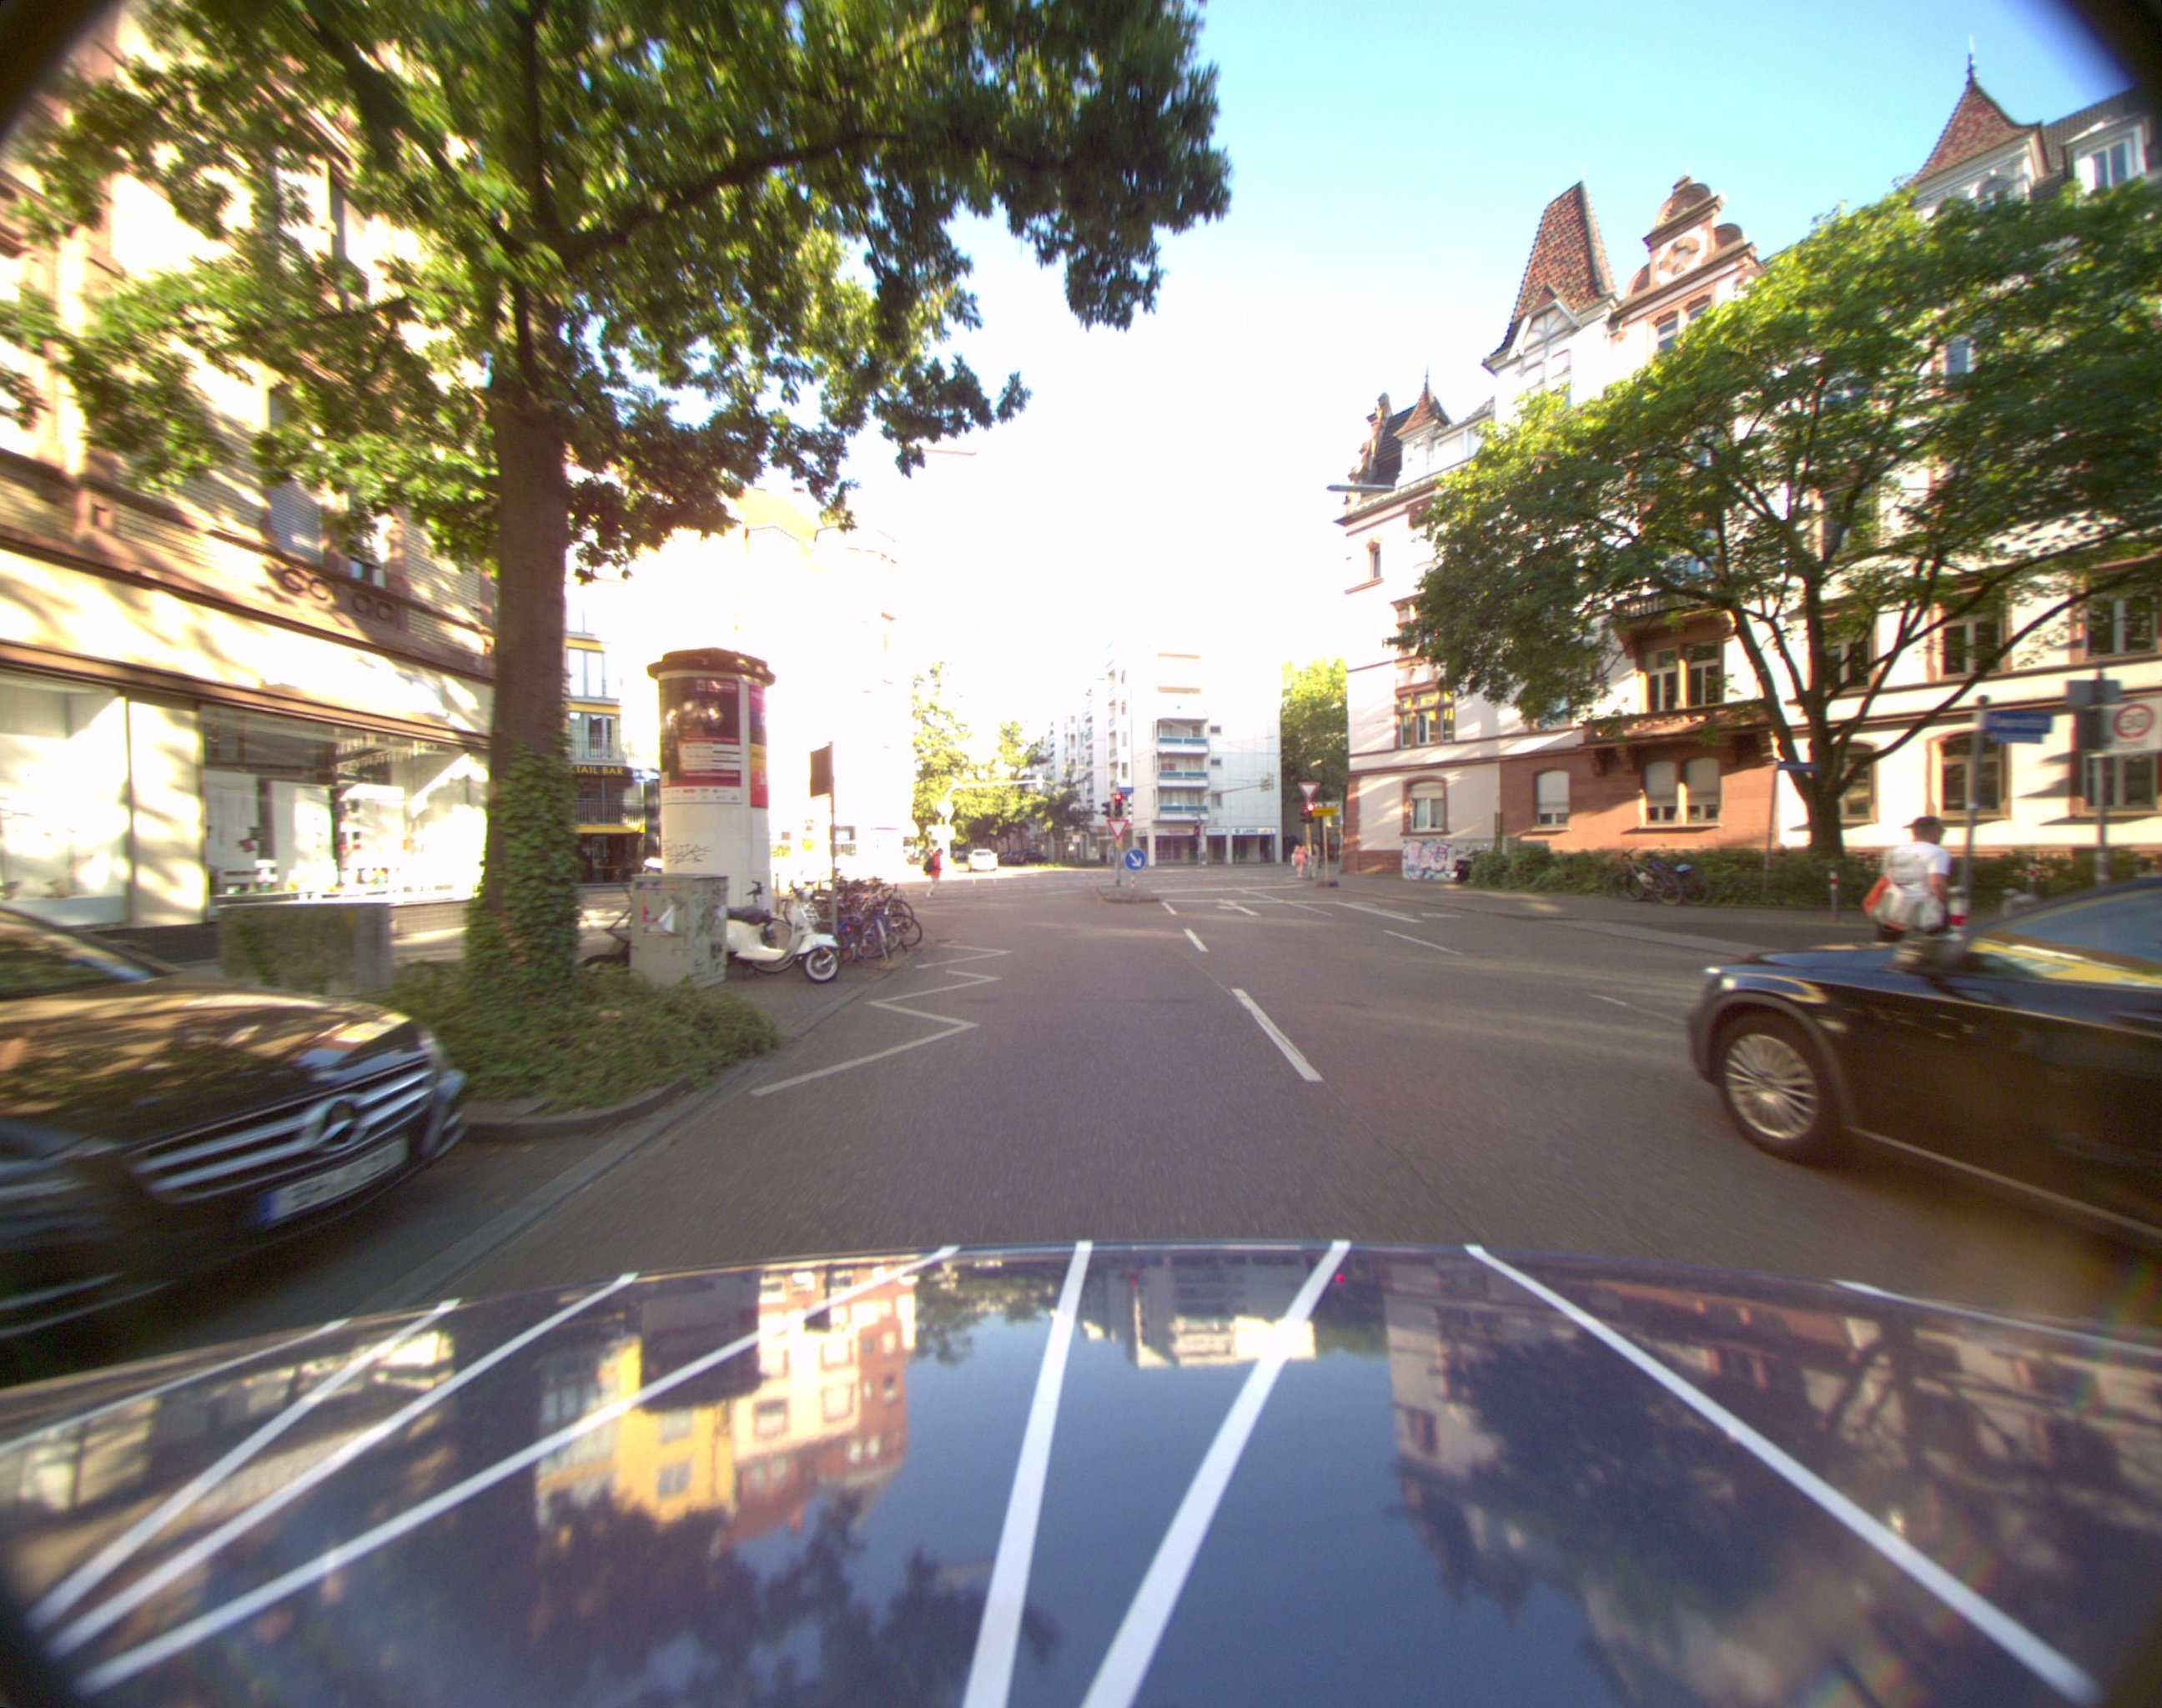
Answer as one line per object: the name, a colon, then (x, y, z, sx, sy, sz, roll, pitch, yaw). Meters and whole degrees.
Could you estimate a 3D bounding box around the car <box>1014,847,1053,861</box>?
car: (-5.454, -0.009, 86.973, 4.004, 1.576, 1.996, -1, 1, -21)

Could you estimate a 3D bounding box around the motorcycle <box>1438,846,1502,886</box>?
motorcycle: (13.203, 0.385, 25.798, 2.113, 1.258, 0.841, -1, 1, -26)

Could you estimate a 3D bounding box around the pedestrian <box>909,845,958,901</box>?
pedestrian: (-4.530, 0.557, 23.338, 1.175, 1.670, 1.005, -2, 1, -30)

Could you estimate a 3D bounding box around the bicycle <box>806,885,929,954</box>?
bicycle: (-3.610, 1.081, 12.957, 1.940, 1.046, 0.501, 1, 2, -38)

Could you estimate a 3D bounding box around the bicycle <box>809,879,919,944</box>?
bicycle: (-3.990, 1.031, 14.076, 1.940, 1.087, 0.424, 1, 2, -40)

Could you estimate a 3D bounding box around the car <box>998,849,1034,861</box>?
car: (-8.603, 0.126, 100.139, 4.308, 1.576, 1.996, -1, 1, -20)

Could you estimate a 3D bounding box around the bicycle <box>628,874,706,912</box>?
bicycle: (-11.723, 1.089, 21.553, 1.882, 0.907, 0.633, -3, 1, -30)

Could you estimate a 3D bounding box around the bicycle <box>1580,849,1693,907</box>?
bicycle: (12.477, 0.489, 17.202, 0.547, 1.189, 2.959, -1, 1, 3)

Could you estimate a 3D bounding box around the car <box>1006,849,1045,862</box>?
car: (-6.706, 0.160, 91.847, 4.309, 1.576, 1.996, -1, 1, -21)

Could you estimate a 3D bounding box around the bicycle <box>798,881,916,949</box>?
bicycle: (-3.904, 1.046, 13.344, 1.940, 1.087, 0.424, 1, 2, -38)

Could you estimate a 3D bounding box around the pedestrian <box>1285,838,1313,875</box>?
pedestrian: (10.017, 0.100, 34.907, 0.867, 1.688, 0.986, 0, 2, 44)

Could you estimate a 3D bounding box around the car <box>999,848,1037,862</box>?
car: (-7.805, 0.096, 94.023, 4.309, 1.576, 1.996, -1, 1, -21)

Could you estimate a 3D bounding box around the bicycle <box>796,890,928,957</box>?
bicycle: (-3.461, 1.082, 12.039, 1.939, 0.982, 0.495, 1, 2, -23)

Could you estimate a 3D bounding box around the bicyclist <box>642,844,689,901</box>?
bicyclist: (-11.775, 0.508, 21.530, 1.083, 1.544, 0.633, -3, 1, -30)

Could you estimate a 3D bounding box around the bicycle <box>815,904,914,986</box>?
bicycle: (-2.887, 1.188, 10.248, 0.353, 0.922, 1.416, 3, 1, 29)

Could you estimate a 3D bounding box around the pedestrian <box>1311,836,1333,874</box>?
pedestrian: (10.959, 0.056, 34.590, 0.868, 1.688, 0.985, -1, 1, 14)

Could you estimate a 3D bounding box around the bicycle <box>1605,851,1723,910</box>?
bicycle: (13.072, 0.546, 17.176, 0.547, 1.189, 2.959, -1, 1, 3)

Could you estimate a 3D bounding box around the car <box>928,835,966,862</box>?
car: (-16.305, -0.676, 91.734, 3.329, 3.160, 8.069, -1, 1, -18)

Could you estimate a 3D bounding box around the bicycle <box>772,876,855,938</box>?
bicycle: (-5.220, 1.008, 14.904, 0.572, 1.087, 1.480, 3, 2, 31)

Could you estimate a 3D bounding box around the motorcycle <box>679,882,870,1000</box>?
motorcycle: (-3.492, 0.979, 8.753, 1.902, 1.227, 0.686, 1, 1, -1)

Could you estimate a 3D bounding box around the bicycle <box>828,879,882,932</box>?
bicycle: (-4.802, 1.079, 16.103, 1.000, 1.021, 0.737, -1, 1, -23)

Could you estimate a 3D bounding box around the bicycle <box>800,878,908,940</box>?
bicycle: (-4.294, 1.020, 14.458, 1.940, 1.087, 0.424, 1, 2, -40)

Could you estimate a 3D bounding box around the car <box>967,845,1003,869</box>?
car: (-7.128, 0.195, 56.148, 2.001, 1.740, 3.994, -1, 1, -15)

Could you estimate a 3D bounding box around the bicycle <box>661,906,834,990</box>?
bicycle: (-4.075, 1.147, 9.334, 1.935, 0.922, 0.354, 2, 2, -2)

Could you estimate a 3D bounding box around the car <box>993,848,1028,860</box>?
car: (-9.585, 0.028, 103.270, 4.308, 1.576, 1.996, -1, 1, -20)

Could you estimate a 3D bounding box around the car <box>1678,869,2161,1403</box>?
car: (3.991, 0.848, 2.021, 1.762, 1.479, 4.139, 0, 1, 4)

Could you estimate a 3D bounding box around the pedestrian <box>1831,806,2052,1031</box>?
pedestrian: (7.757, 0.538, 6.894, 1.118, 1.888, 0.842, -1, 1, -8)

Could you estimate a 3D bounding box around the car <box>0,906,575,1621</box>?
car: (-4.761, 0.961, 2.640, 4.797, 1.405, 1.851, 1, 1, 2)

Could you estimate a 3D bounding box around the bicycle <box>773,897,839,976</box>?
bicycle: (-3.863, 1.125, 10.758, 0.354, 0.922, 1.525, 2, 1, 1)

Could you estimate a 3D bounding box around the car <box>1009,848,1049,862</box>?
car: (-6.144, 0.071, 89.319, 4.309, 1.576, 1.996, -1, 1, -21)

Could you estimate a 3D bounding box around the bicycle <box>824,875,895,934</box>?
bicycle: (-4.424, 0.987, 15.256, 0.424, 1.087, 1.480, 3, 2, 29)

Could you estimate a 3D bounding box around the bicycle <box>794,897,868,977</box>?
bicycle: (-3.466, 1.124, 10.637, 0.354, 0.922, 1.526, 2, 1, 7)
